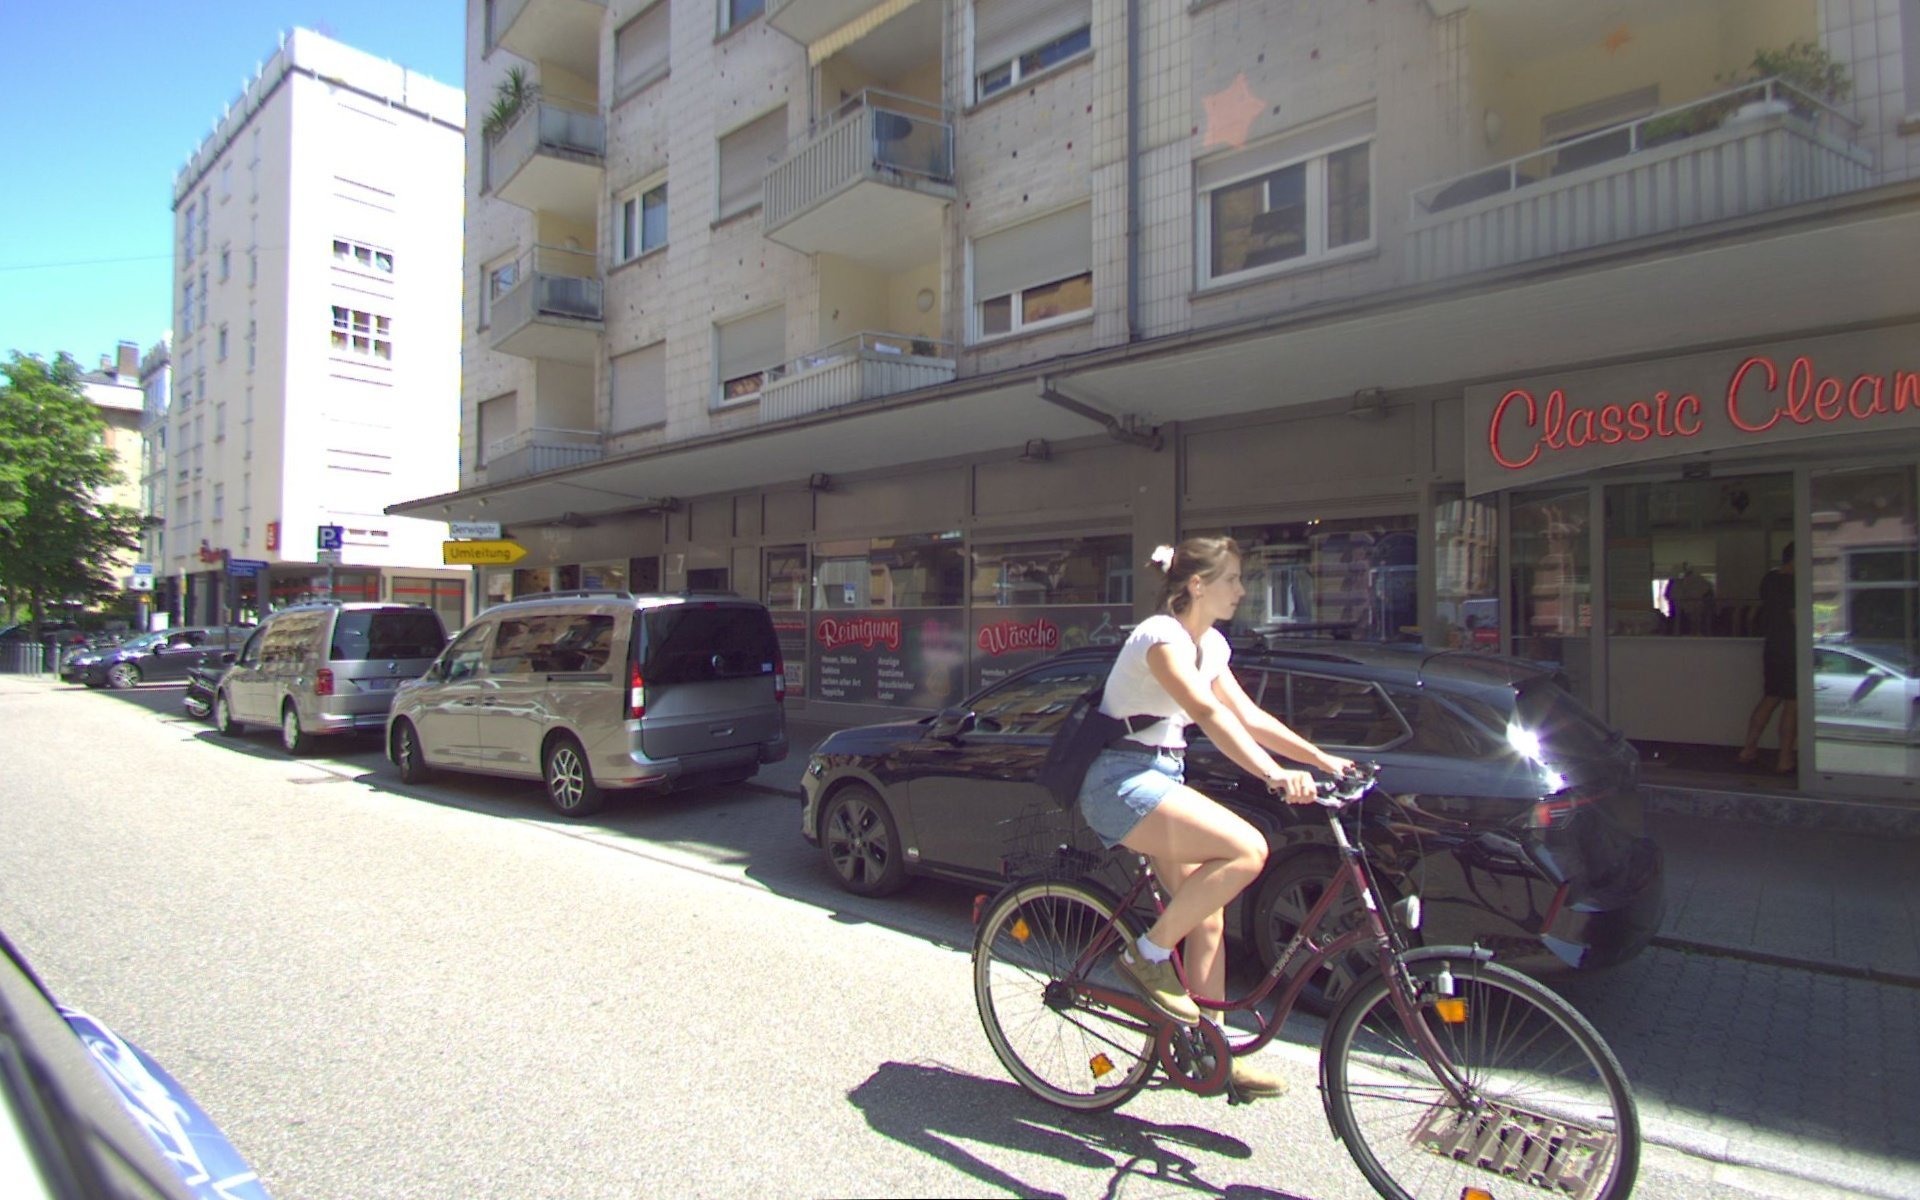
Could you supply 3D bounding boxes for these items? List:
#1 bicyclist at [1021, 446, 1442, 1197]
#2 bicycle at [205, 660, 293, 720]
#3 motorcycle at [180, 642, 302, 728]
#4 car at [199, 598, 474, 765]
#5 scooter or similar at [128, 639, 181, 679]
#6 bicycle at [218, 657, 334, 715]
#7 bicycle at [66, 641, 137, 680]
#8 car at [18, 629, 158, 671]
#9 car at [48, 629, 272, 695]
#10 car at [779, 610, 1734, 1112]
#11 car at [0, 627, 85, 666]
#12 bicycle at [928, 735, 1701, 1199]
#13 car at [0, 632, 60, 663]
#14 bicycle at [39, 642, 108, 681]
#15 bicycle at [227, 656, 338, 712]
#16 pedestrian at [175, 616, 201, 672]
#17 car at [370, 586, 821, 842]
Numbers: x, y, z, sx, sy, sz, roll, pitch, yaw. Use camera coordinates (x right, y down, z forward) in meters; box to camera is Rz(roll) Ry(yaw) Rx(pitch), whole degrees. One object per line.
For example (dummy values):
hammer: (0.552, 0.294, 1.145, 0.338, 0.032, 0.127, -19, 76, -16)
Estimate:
bicyclist: (0.750, 0.518, 2.891, 0.978, 1.719, 0.616, -2, -3, 41)
bicycle: (-11.929, 1.506, 16.992, 1.194, 0.964, 0.337, 0, -1, -6)
motorcycle: (-11.396, 1.333, 16.076, 1.530, 1.293, 0.394, 0, 0, -17)
car: (-8.440, 0.970, 13.493, 4.898, 1.843, 1.770, -2, -2, 41)
scooter or similar: (-23.817, 1.739, 29.938, 0.289, 1.176, 1.177, -2, -3, 39)
bicycle: (-11.942, 1.495, 17.694, 1.684, 0.964, 0.411, 0, -1, -6)
bicycle: (-25.750, 1.804, 30.369, 1.586, 1.099, 0.371, 0, -1, -44)
car: (-33.225, 1.885, 38.643, 1.651, 1.541, 3.835, -2, -3, 40)
car: (-19.162, 1.444, 24.393, 1.810, 1.436, 3.848, -1, -3, 33)
car: (1.117, 0.863, 5.238, 4.462, 1.536, 1.652, -2, -2, 42)
car: (-42.963, 2.125, 46.575, 1.651, 1.760, 3.835, -2, -3, 40)
bicycle: (0.821, 1.012, 2.809, 1.939, 1.100, 0.596, -2, -3, 41)
car: (-47.170, 2.351, 49.987, 1.651, 1.507, 3.835, -2, -3, 40)
bicycle: (-27.201, 1.868, 31.065, 1.586, 1.099, 0.371, 0, -1, -44)
bicycle: (-12.450, 1.537, 18.624, 1.684, 0.964, 0.411, 0, -1, -6)
pedestrian: (-29.685, 1.687, 38.900, 0.599, 2.141, 0.496, 0, -2, -13)
car: (-3.566, 0.878, 9.413, 4.693, 1.825, 1.771, -2, -2, 39)
